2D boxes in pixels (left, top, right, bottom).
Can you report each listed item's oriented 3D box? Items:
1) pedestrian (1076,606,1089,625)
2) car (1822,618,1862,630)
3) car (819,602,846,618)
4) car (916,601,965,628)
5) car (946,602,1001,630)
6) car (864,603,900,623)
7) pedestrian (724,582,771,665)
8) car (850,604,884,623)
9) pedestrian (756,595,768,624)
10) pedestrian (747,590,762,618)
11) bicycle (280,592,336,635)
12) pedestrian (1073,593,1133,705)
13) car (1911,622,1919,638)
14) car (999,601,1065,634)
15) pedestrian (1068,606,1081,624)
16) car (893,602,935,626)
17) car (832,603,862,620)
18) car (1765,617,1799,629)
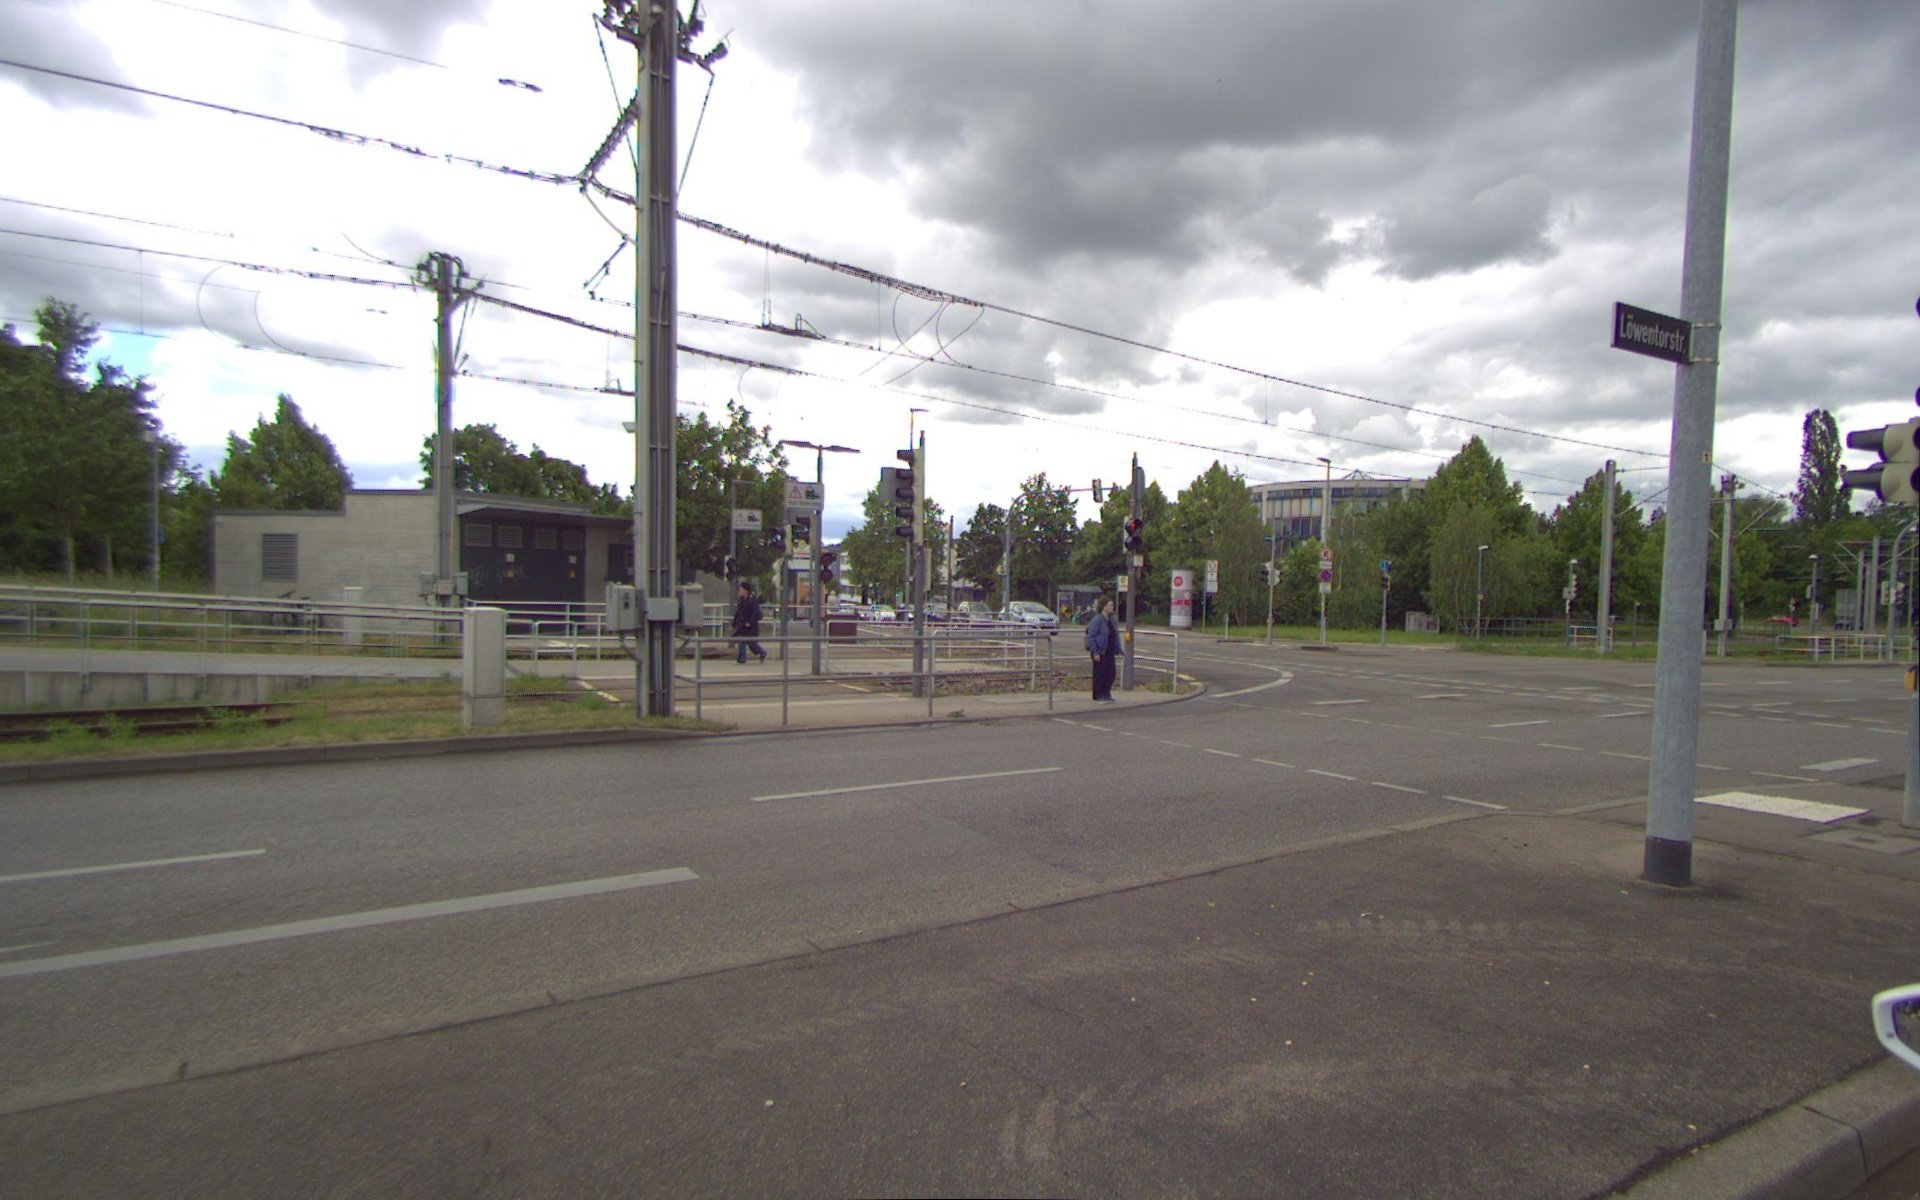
[{"bbox_3d":[8.770,1.115,71.774,0.652,1.322,0.780,1,0,-16],"label":"pedestrian"},{"bbox_3d":[116.126,3.140,132.327,1.748,1.567,4.025,1,0,2],"label":"car"},{"bbox_3d":[-11.931,0.966,94.068,1.706,1.456,3.731,1,0,-20],"label":"car"},{"bbox_3d":[-1.147,0.819,58.161,1.706,1.456,3.731,1,0,-20],"label":"car"},{"bbox_3d":[0.693,0.846,53.666,1.706,1.456,3.731,1,0,-20],"label":"car"},{"bbox_3d":[-5.811,0.966,74.778,1.706,1.456,3.731,1,0,-20],"label":"car"},{"bbox_3d":[-4.287,0.464,20.223,0.653,1.628,0.698,1,1,-41],"label":"pedestrian"},{"bbox_3d":[-7.417,1.026,79.680,1.706,1.456,3.991,1,0,-20],"label":"car"},{"bbox_3d":[-13.650,0.669,69.093,0.738,1.993,0.795,1,0,-9],"label":"pedestrian"},{"bbox_3d":[-12.348,0.231,60.375,0.771,1.649,0.660,1,0,-22],"label":"pedestrian"},{"bbox_3d":[-17.321,0.349,26.673,1.452,1.101,0.492,1,0,22],"label":"bicycle"},{"bbox_3d":[2.091,0.704,14.706,0.701,1.584,0.533,1,1,-44],"label":"pedestrian"},{"bbox_3d":[94.925,2.947,98.143,1.754,1.465,4.521,-1,0,27],"label":"car"},{"bbox_3d":[3.306,0.802,46.806,1.706,1.456,3.731,1,0,-20],"label":"car"},{"bbox_3d":[8.338,1.082,72.998,0.652,1.321,0.780,1,0,-16],"label":"pedestrian"},{"bbox_3d":[-3.001,0.891,64.928,1.706,1.456,3.731,1,0,-20],"label":"car"},{"bbox_3d":[-9.768,0.990,86.712,1.706,1.456,3.731,1,0,-20],"label":"car"},{"bbox_3d":[116.725,3.202,142.693,1.748,1.567,4.026,1,0,4],"label":"car"}]
